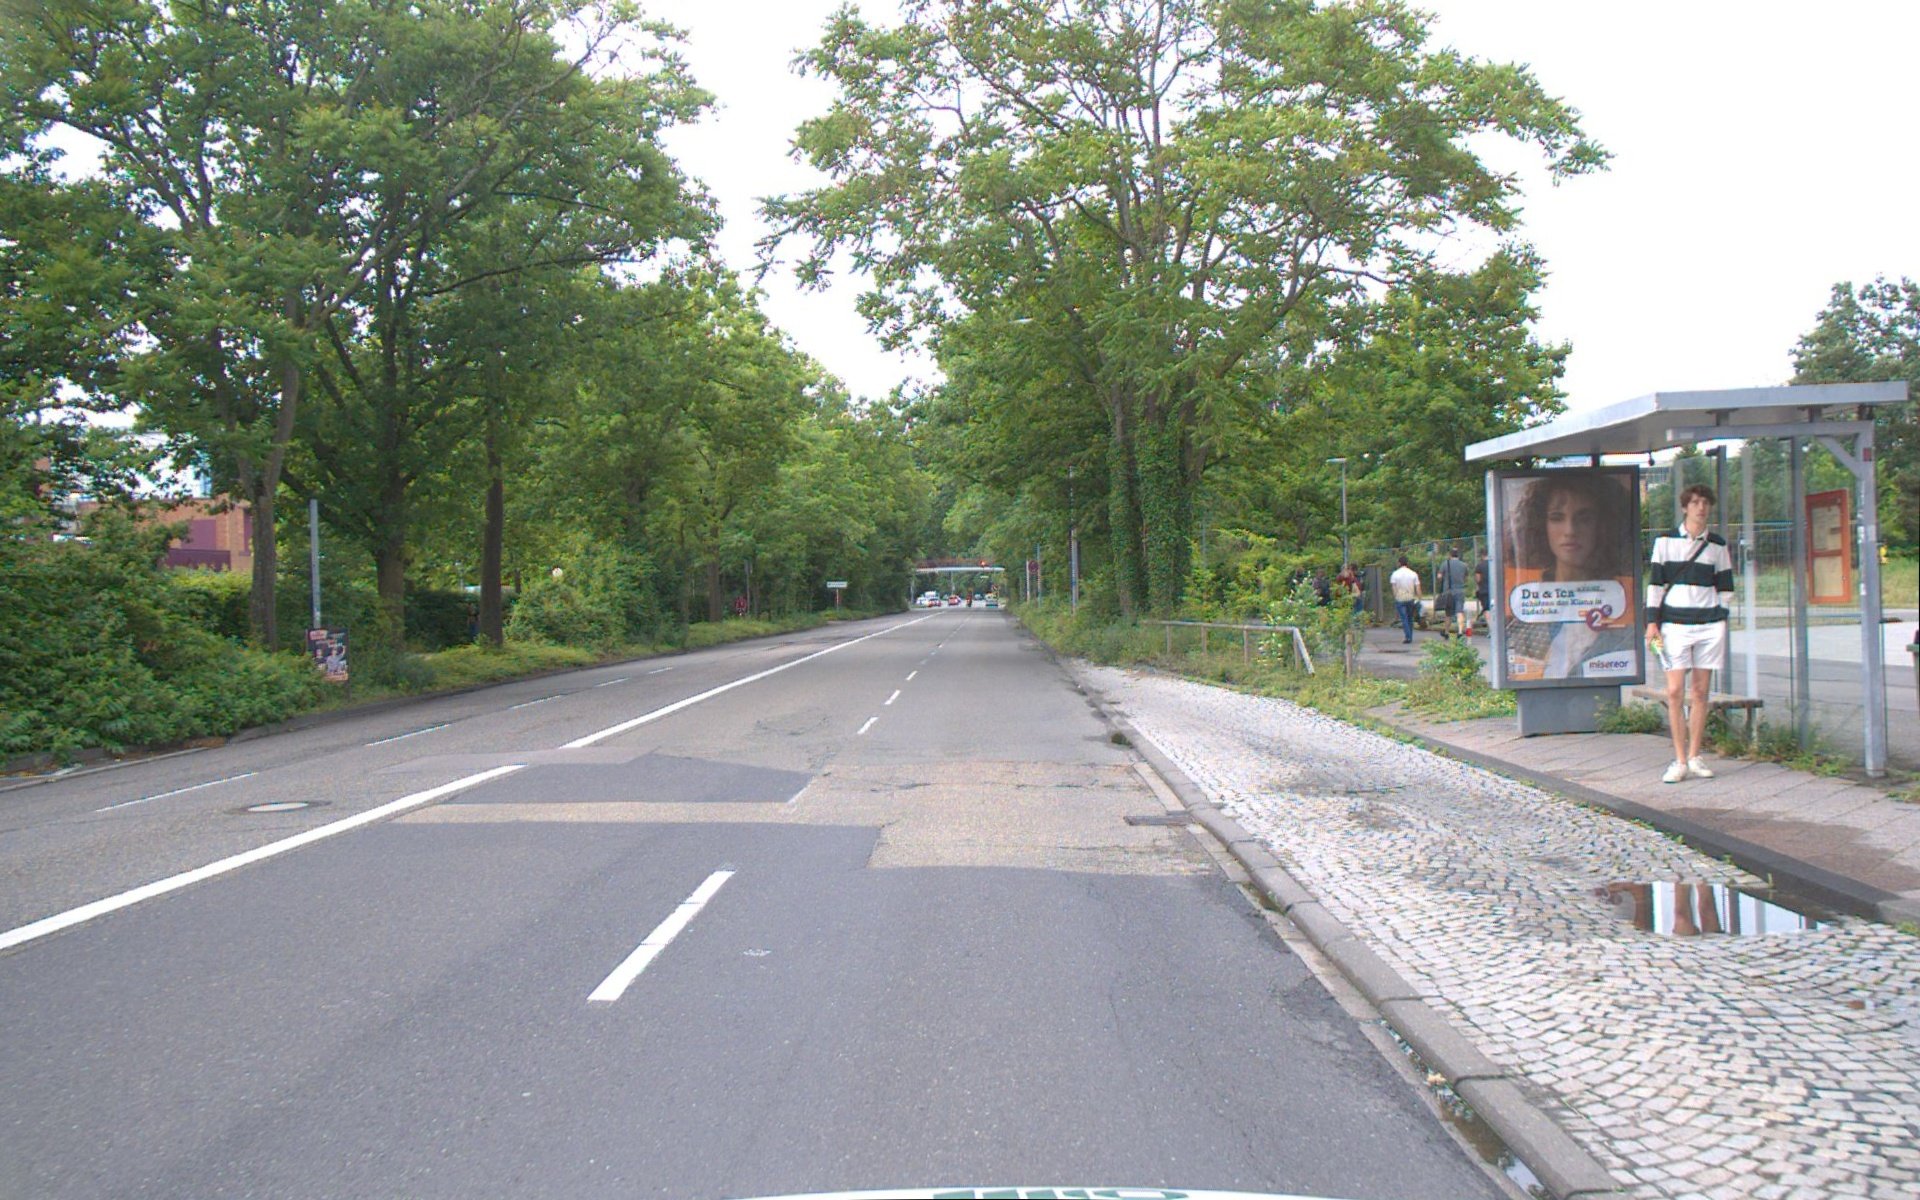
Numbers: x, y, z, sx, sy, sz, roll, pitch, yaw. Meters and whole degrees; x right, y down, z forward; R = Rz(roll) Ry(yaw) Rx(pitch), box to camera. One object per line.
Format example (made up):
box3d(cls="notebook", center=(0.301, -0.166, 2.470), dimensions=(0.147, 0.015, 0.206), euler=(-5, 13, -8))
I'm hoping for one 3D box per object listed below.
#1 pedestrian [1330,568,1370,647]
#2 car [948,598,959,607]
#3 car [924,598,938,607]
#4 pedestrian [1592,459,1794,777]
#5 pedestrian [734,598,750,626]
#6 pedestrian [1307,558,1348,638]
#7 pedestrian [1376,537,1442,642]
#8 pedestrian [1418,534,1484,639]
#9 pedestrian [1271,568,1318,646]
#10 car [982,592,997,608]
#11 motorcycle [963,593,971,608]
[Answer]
box3d(cls="pedestrian", center=(10.464, 0.198, 44.383), dimensions=(0.807, 2.049, 0.720), euler=(-3, 0, 0))
box3d(cls="car", center=(-1.003, 0.414, 257.771), dimensions=(1.640, 1.386, 3.921), euler=(-1, 0, 0))
box3d(cls="car", center=(-4.535, 0.452, 257.728), dimensions=(1.952, 1.377, 3.896), euler=(-1, 0, 4))
box3d(cls="pedestrian", center=(5.020, 0.106, 11.380), dimensions=(0.894, 2.048, 0.854), euler=(-4, 2, 0))
box3d(cls="pedestrian", center=(-12.865, 0.702, 97.670), dimensions=(0.775, 1.641, 0.848), euler=(-1, 0, 1))
box3d(cls="pedestrian", center=(9.745, -0.056, 43.931), dimensions=(0.807, 2.048, 0.720), euler=(-4, 0, 0))
box3d(cls="pedestrian", center=(9.079, -0.208, 33.466), dimensions=(0.907, 2.049, 1.039), euler=(-3, 0, -3))
box3d(cls="pedestrian", center=(9.925, -0.278, 33.469), dimensions=(0.907, 2.049, 1.039), euler=(-3, 0, -3))
box3d(cls="pedestrian", center=(9.010, 0.181, 44.608), dimensions=(0.907, 2.049, 1.039), euler=(-3, 0, -3))
box3d(cls="car", center=(3.732, -0.006, 210.770), dimensions=(1.805, 2.049, 4.000), euler=(-1, 0, 1))
box3d(cls="motorcycle", center=(0.925, 0.061, 214.306), dimensions=(0.969, 1.970, 2.669), euler=(-1, 0, 1))
